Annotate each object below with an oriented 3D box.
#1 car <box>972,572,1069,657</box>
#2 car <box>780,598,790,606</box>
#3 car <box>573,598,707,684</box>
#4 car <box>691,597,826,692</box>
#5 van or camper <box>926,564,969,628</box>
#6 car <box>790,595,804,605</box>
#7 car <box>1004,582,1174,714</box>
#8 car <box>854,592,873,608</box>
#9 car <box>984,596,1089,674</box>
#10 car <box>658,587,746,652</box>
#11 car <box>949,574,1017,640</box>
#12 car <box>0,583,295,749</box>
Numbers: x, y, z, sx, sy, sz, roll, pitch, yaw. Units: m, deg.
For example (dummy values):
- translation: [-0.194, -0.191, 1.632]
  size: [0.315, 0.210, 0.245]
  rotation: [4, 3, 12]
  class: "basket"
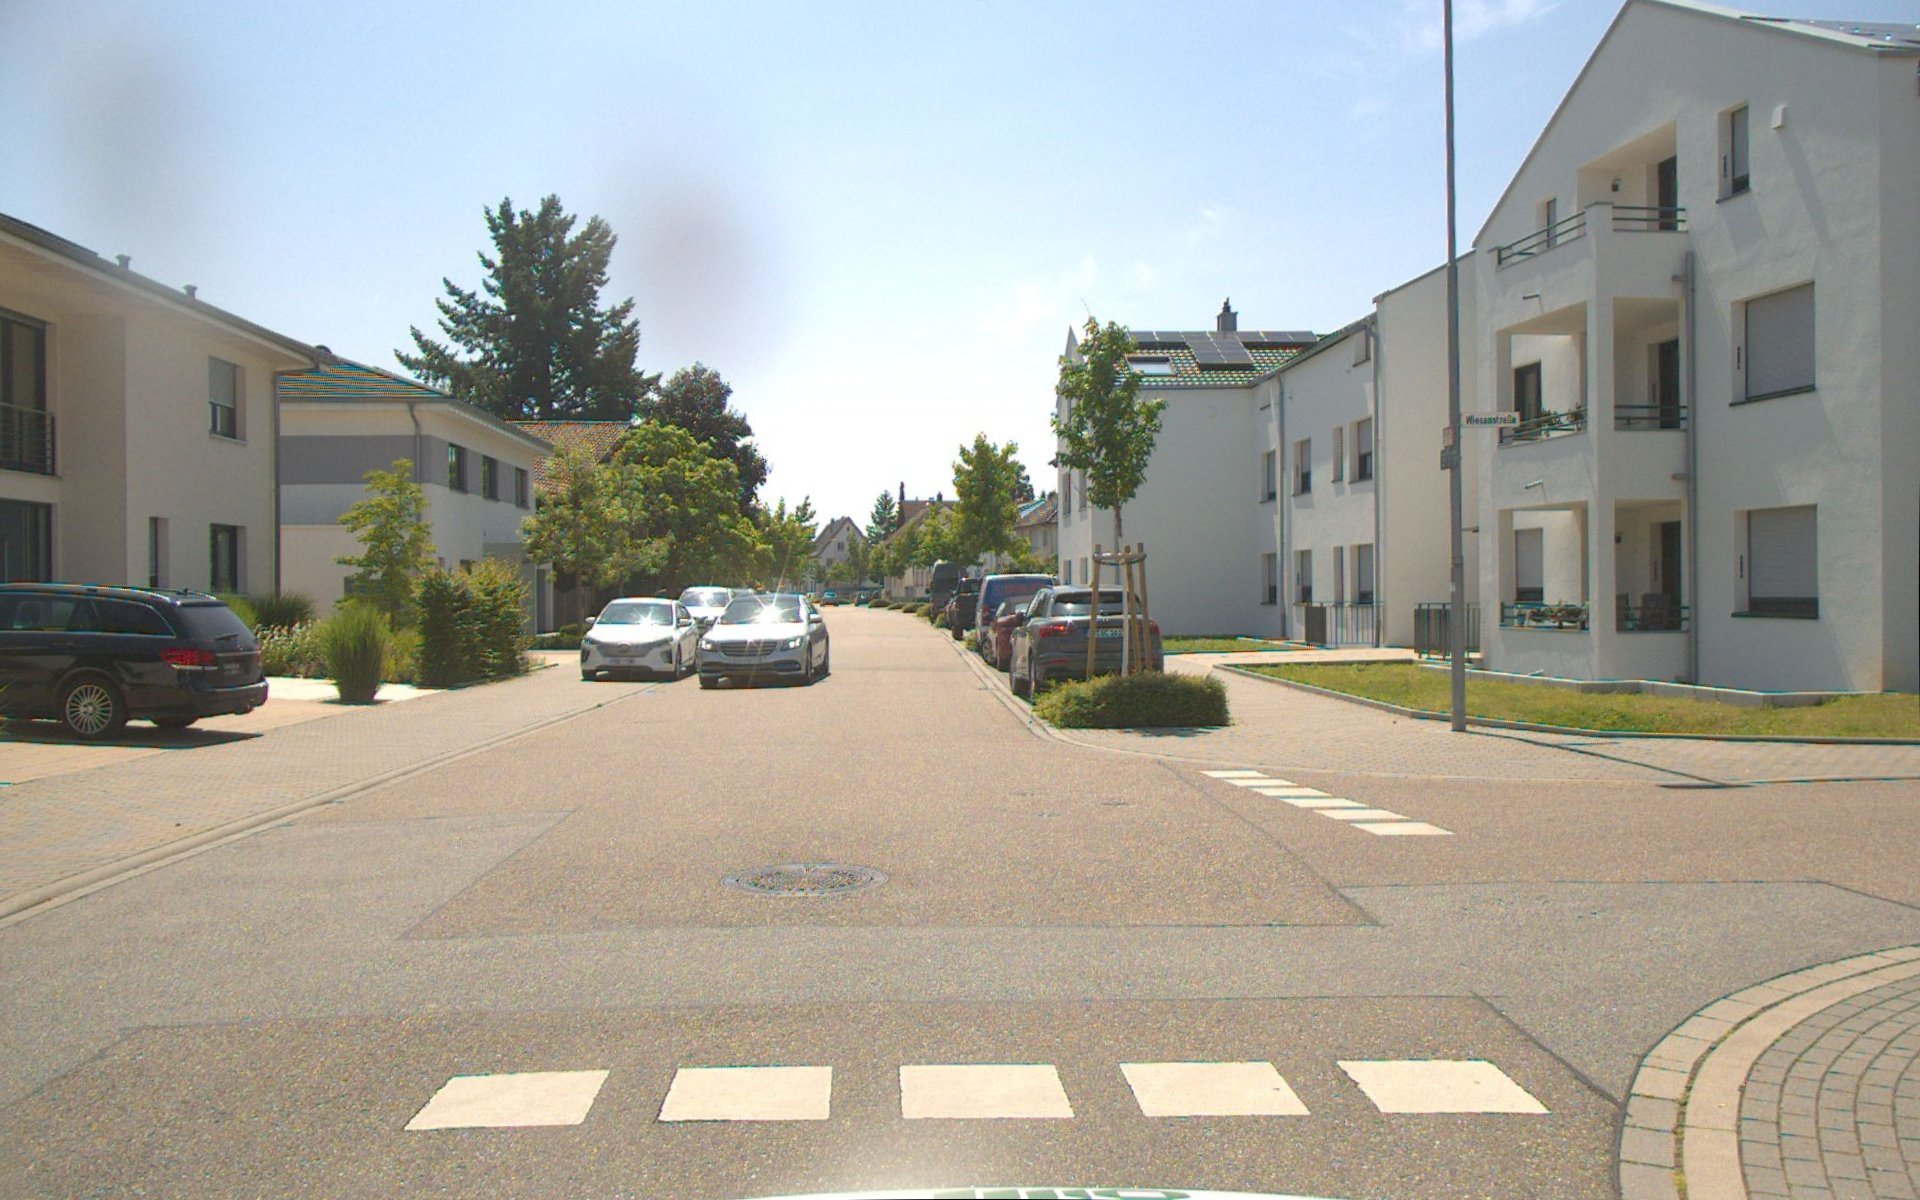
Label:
- translation: [1.400, 0.330, 40.101]
  size: [2.057, 1.915, 4.841]
  rotation: [-1, 0, -1]
  class: "car"
- translation: [-25.635, 0.313, 241.751]
  size: [1.167, 1.089, 3.045]
  rotation: [-1, 0, -11]
  class: "car"
- translation: [-6.037, 0.727, 31.666]
  size: [1.814, 1.514, 4.383]
  rotation: [-1, 0, -2]
  class: "car"
- translation: [-3.442, 0.708, 29.064]
  size: [1.815, 1.504, 4.699]
  rotation: [-1, 0, 0]
  class: "car"
- translation: [-0.621, -0.206, 79.173]
  size: [1.953, 2.993, 3.998]
  rotation: [0, 0, -2]
  class: "van or camper"
- translation: [-23.036, -0.019, 233.098]
  size: [1.633, 1.272, 3.921]
  rotation: [-1, 0, -11]
  class: "car"
- translation: [1.720, 0.605, 23.445]
  size: [1.738, 1.623, 4.275]
  rotation: [-2, 0, -4]
  class: "car"
- translation: [-10.081, -0.047, 173.004]
  size: [1.953, 1.601, 3.998]
  rotation: [-1, 0, -2]
  class: "car"
- translation: [1.492, 0.657, 33.510]
  size: [1.647, 1.467, 4.023]
  rotation: [-1, 0, -4]
  class: "car"
- translation: [-7.185, 0.509, 46.479]
  size: [1.888, 1.716, 4.496]
  rotation: [-1, 0, -2]
  class: "car"
- translation: [0.713, 0.214, 54.385]
  size: [1.953, 1.981, 5.213]
  rotation: [-2, 0, -2]
  class: "car"
- translation: [-9.528, 0.618, 17.274]
  size: [4.337, 1.499, 1.851]
  rotation: [3, 0, 2]
  class: "car"
